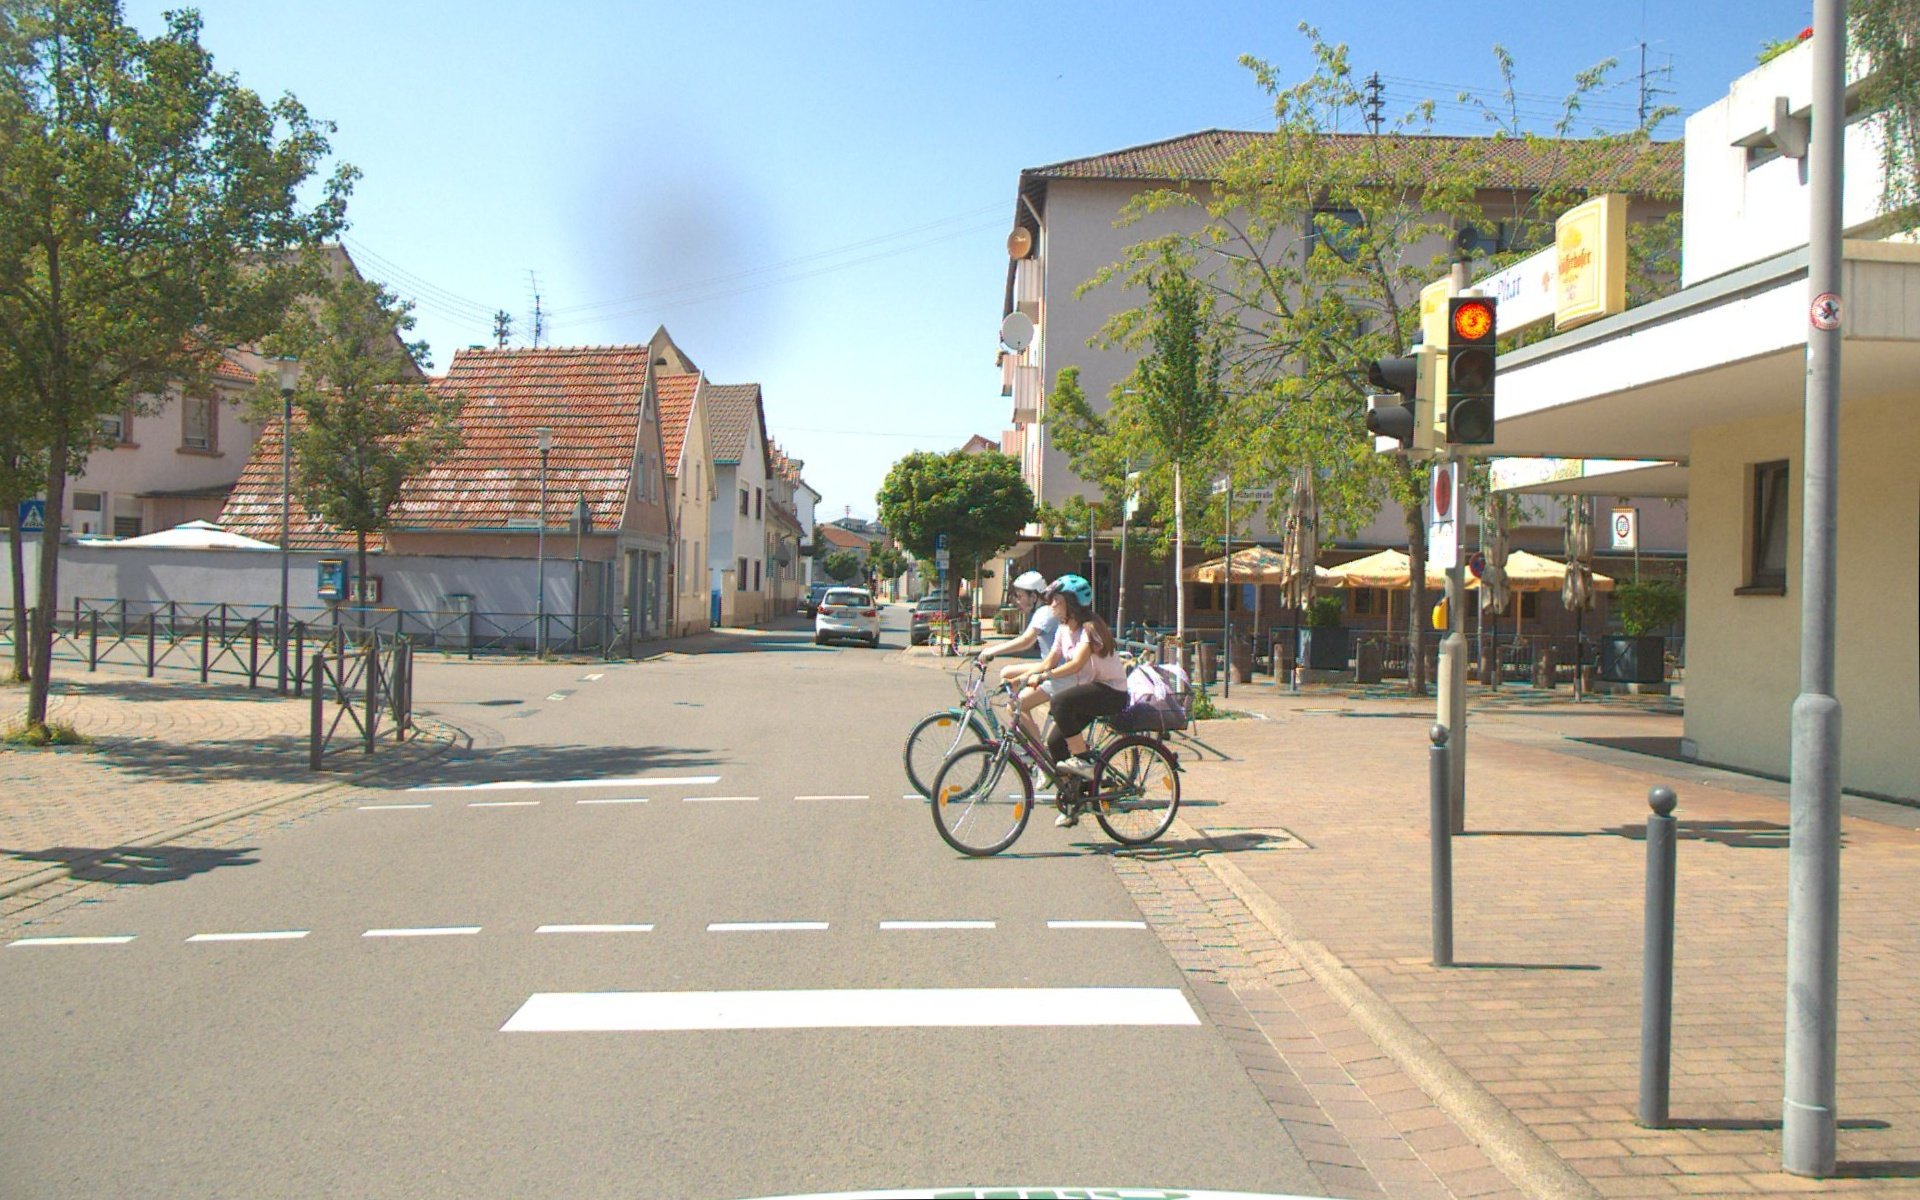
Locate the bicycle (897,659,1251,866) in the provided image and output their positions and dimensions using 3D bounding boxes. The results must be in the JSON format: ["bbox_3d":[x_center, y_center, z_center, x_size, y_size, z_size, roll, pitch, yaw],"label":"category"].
[{"bbox_3d":[0.642,0.864,9.213,1.864,0.974,0.671,-1,1,-22],"label":"bicycle"}]

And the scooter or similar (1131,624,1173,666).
[{"bbox_3d":[4.203,0.976,36.269,0.376,0.889,0.877,1,0,-41],"label":"scooter or similar"}]

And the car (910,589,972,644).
[{"bbox_3d":[-0.544,0.469,50.367,1.768,1.527,4.001,1,1,1],"label":"car"}]

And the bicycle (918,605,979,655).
[{"bbox_3d":[-0.288,0.746,41.597,0.523,1.214,1.648,1,0,-44],"label":"bicycle"}]

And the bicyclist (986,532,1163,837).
[{"bbox_3d":[0.629,0.438,9.209,0.748,1.609,0.666,-1,1,-22],"label":"bicyclist"}]

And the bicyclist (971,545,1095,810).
[{"bbox_3d":[0.475,0.491,10.986,0.744,1.693,0.670,-1,0,-3],"label":"bicyclist"}]

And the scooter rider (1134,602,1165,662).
[{"bbox_3d":[4.163,0.698,36.323,0.513,1.308,0.411,1,0,-42],"label":"scooter rider"}]

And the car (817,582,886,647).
[{"bbox_3d":[-3.176,0.368,47.708,1.798,1.680,3.996,3,1,-6],"label":"car"}]

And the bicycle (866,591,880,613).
[{"bbox_3d":[-4.506,0.089,85.826,0.660,1.113,1.896,0,0,-1],"label":"bicycle"}]

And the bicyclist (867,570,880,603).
[{"bbox_3d":[-4.494,-0.695,85.803,0.655,1.720,0.761,0,0,-1],"label":"bicyclist"}]

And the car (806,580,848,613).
[{"bbox_3d":[-6.488,-0.191,81.110,1.679,1.543,3.786,1,0,0],"label":"car"}]

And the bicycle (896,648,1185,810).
[{"bbox_3d":[0.509,0.839,10.991,1.852,0.974,0.675,-1,0,-3],"label":"bicycle"}]
